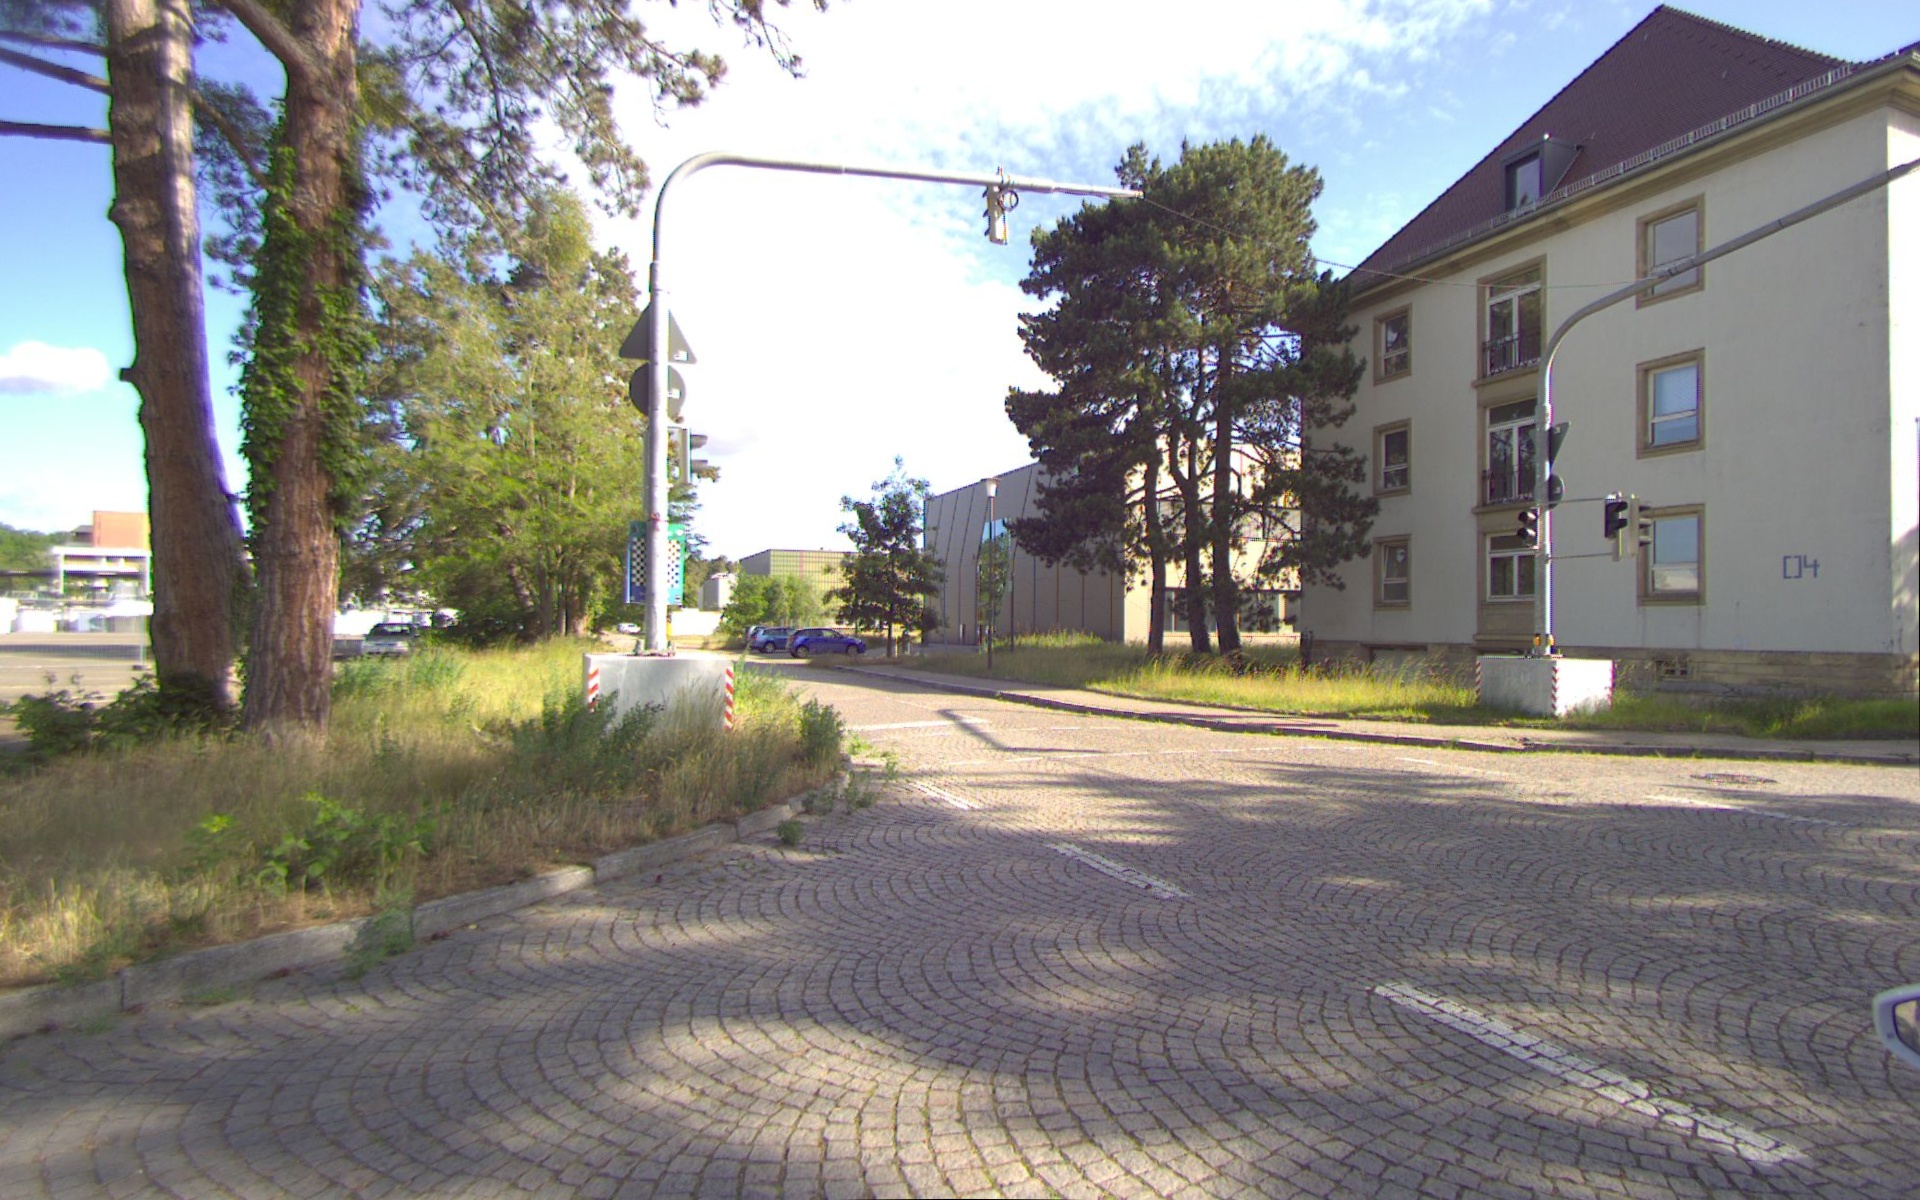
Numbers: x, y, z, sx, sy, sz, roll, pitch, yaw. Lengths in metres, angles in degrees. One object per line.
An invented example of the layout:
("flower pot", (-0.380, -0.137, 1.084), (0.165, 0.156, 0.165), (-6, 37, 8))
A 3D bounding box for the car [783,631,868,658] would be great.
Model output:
("car", (-6.722, 2.207, 50.085), (3.989, 1.311, 1.485), (1, -1, -20))

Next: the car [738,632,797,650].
("car", (-12.554, 2.676, 65.616), (3.622, 1.090, 1.404), (1, -1, -19))

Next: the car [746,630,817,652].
("car", (-10.415, 2.394, 58.666), (3.938, 1.221, 1.486), (1, -1, -19))

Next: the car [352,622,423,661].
("car", (-21.647, 1.545, 38.103), (1.721, 1.388, 3.606), (1, -1, -20))
